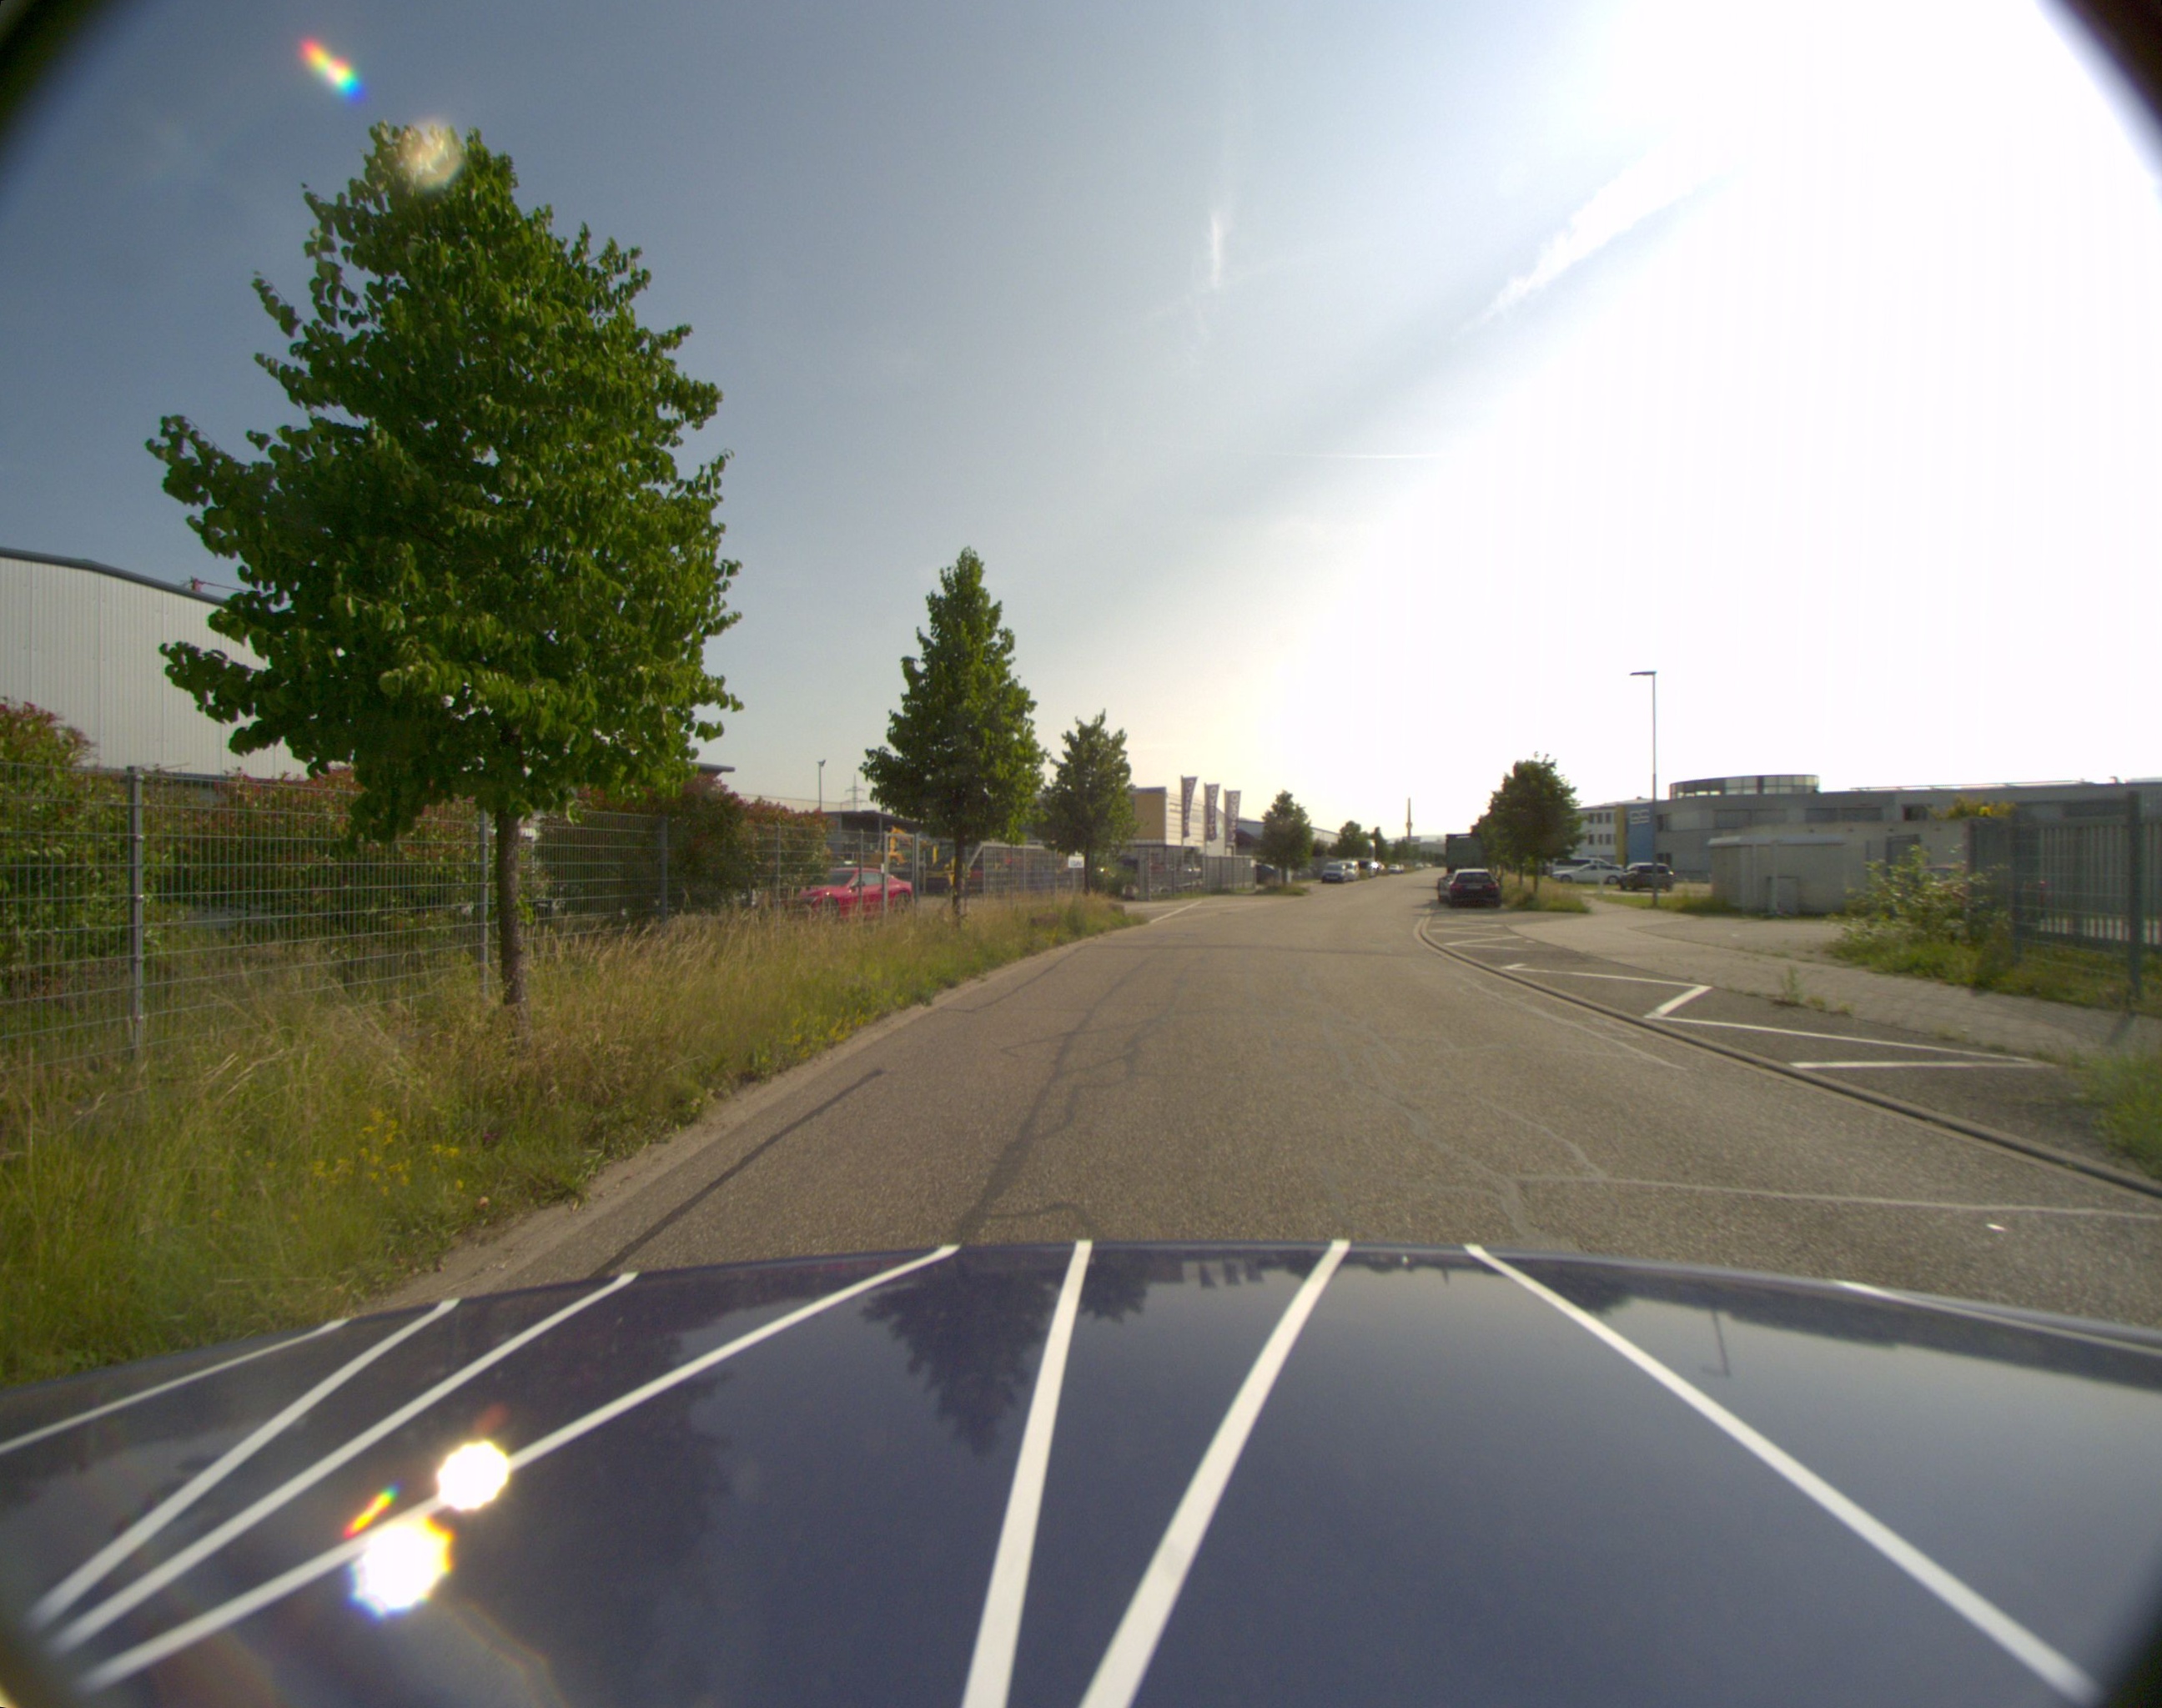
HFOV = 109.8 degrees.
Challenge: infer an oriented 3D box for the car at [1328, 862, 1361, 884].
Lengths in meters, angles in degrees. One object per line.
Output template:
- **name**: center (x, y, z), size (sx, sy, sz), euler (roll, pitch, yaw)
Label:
- **car**: center (23.198, 1.619, 66.798), size (1.995, 1.779, 4.608), euler (-1, 0, 27)

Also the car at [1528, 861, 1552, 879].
- **car**: center (53.263, 1.854, 88.233), size (1.883, 2.001, 5.001), euler (0, -1, 26)

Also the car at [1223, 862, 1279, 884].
- **car**: center (13.673, 1.512, 61.109), size (4.229, 1.727, 1.902), euler (-1, -1, 19)

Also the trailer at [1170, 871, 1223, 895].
- **trailer**: center (7.443, 1.817, 48.740), size (1.995, 1.303, 4.572), euler (-1, 0, 27)

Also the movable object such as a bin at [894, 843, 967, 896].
- **movable object such as a bin**: center (-9.004, 0.923, 45.747), size (1.994, 3.013, 4.382), euler (0, 0, 27)

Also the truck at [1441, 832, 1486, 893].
- **truck**: center (26.683, 0.555, 52.833), size (2.457, 3.858, 9.821), euler (-2, -1, 28)

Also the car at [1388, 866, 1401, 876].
- **car**: center (49.292, 2.652, 119.426), size (1.665, 1.495, 3.548), euler (2, 0, 26)

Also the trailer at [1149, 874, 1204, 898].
- **trailer**: center (5.595, 1.806, 44.195), size (1.945, 1.236, 4.302), euler (0, -1, 25)

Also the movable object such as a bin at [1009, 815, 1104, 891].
- **movable object such as a bin**: center (-1.482, -0.001, 51.651), size (3.318, 4.777, 7.688), euler (0, -1, 25)

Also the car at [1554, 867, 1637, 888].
- **car**: center (37.095, 1.693, 54.937), size (4.730, 1.422, 2.004), euler (-1, -1, 25)

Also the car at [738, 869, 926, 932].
- **car**: center (-6.107, 1.071, 19.337), size (1.882, 1.349, 4.782), euler (0, -1, 23)

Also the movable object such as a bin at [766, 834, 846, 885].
- **movable object such as a bin**: center (-21.985, 0.432, 61.036), size (2.719, 3.906, 6.033), euler (1, 0, 22)

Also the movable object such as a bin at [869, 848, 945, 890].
- **movable object such as a bin**: center (-12.084, 1.017, 53.206), size (2.055, 2.752, 5.701), euler (1, -1, 25)

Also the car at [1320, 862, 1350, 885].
- **car**: center (20.907, 1.591, 62.498), size (1.827, 1.710, 4.256), euler (-1, 0, 25)

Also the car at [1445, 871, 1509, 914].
- **car**: center (15.267, 1.452, 29.374), size (1.995, 1.458, 4.441), euler (-2, -1, 27)

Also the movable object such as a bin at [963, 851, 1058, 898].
- **movable object such as a bin**: center (-3.899, 1.104, 43.142), size (2.924, 2.477, 5.349), euler (0, 0, 27)

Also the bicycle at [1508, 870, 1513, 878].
- **bicycle**: center (50.803, 2.334, 89.875), size (0.540, 0.973, 1.874), euler (0, -1, 30)

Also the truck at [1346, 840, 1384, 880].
- **truck**: center (30.581, 0.698, 81.596), size (2.747, 3.991, 9.705), euler (2, 0, 26)

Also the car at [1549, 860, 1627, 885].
- **car**: center (38.246, 1.340, 57.450), size (4.707, 1.825, 2.107), euler (0, 0, 27)

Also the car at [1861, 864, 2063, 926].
- **car**: center (23.784, 1.069, 20.775), size (1.772, 1.515, 4.312), euler (0, -2, 21)

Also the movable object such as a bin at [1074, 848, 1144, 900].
- **movable object such as a bin**: center (1.621, 1.074, 42.191), size (1.888, 2.736, 5.170), euler (0, 0, 27)

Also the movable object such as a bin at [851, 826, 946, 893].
- **movable object such as a bin**: center (-11.275, 0.350, 47.354), size (2.685, 3.850, 5.729), euler (0, 0, 27)

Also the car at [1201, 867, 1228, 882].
- **car**: center (14.079, 2.116, 79.971), size (1.891, 1.547, 4.378), euler (-1, -1, 21)

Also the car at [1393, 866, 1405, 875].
- **car**: center (52.968, 2.727, 126.547), size (1.691, 1.495, 3.548), euler (2, 0, 26)

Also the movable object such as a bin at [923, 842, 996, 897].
- **movable object such as a bin**: center (-7.038, 0.887, 44.471), size (1.994, 3.013, 4.501), euler (0, 0, 27)

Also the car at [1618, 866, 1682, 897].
- **car**: center (32.948, 1.531, 44.147), size (1.995, 1.676, 4.708), euler (0, 0, 25)

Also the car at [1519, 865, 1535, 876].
- **car**: center (63.530, 2.337, 108.283), size (1.755, 1.401, 3.926), euler (0, -1, 27)

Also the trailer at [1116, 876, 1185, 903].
- **trailer**: center (3.732, 1.815, 39.969), size (2.127, 1.236, 4.805), euler (0, -1, 25)

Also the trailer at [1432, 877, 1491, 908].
- **trailer**: center (17.619, 1.721, 35.022), size (2.131, 1.225, 7.172), euler (-2, -2, 29)
